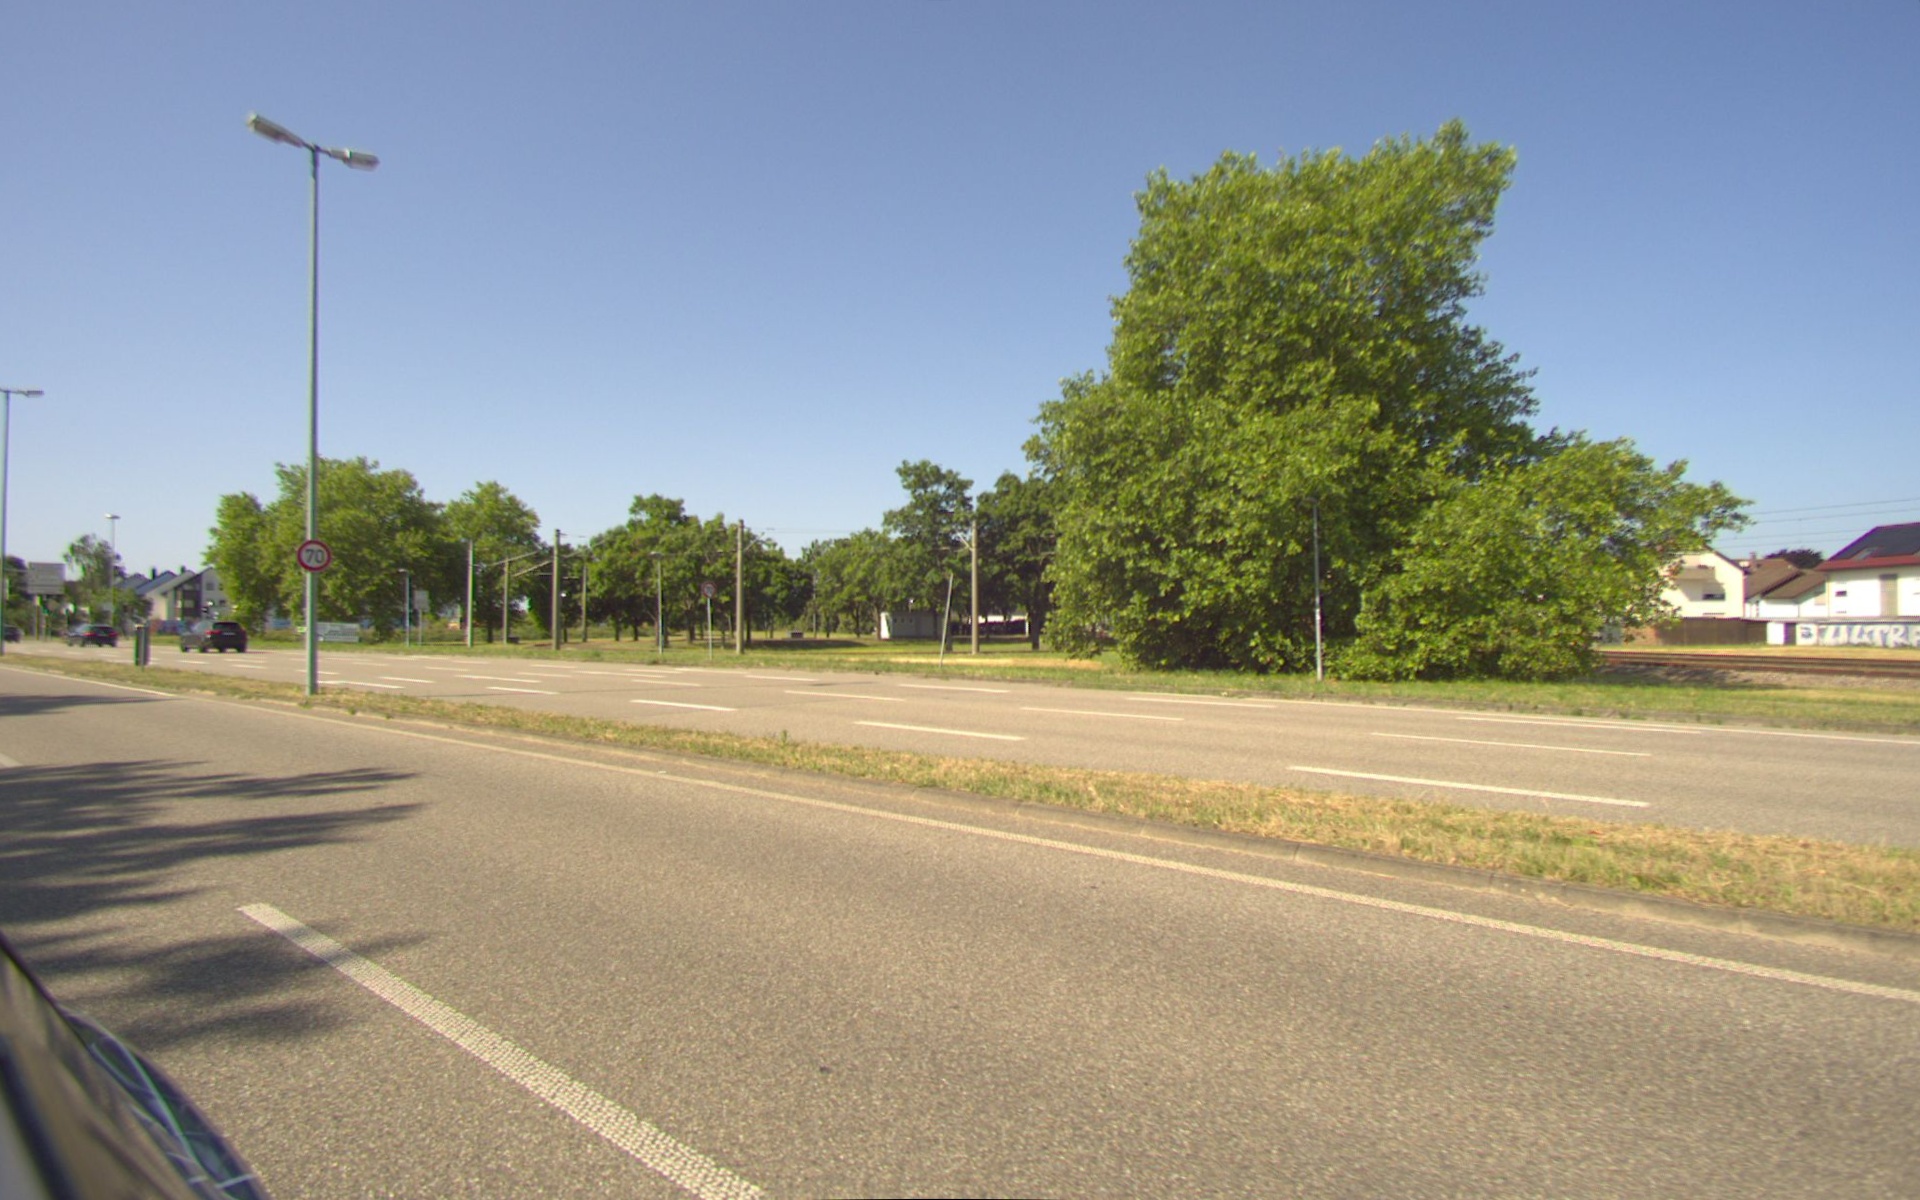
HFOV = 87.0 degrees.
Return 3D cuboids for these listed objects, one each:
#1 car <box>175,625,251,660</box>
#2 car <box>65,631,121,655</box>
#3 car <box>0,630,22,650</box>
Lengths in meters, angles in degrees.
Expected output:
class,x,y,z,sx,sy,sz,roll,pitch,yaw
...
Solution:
class,x,y,z,sx,sy,sz,roll,pitch,yaw
car,-38.038,2.141,51.497,4.548,1.672,1.963,-1,-2,38
car,-55.867,2.740,65.181,4.462,1.476,1.814,-1,-2,37
car,-77.064,3.216,81.194,4.398,1.557,1.845,-1,-3,37
